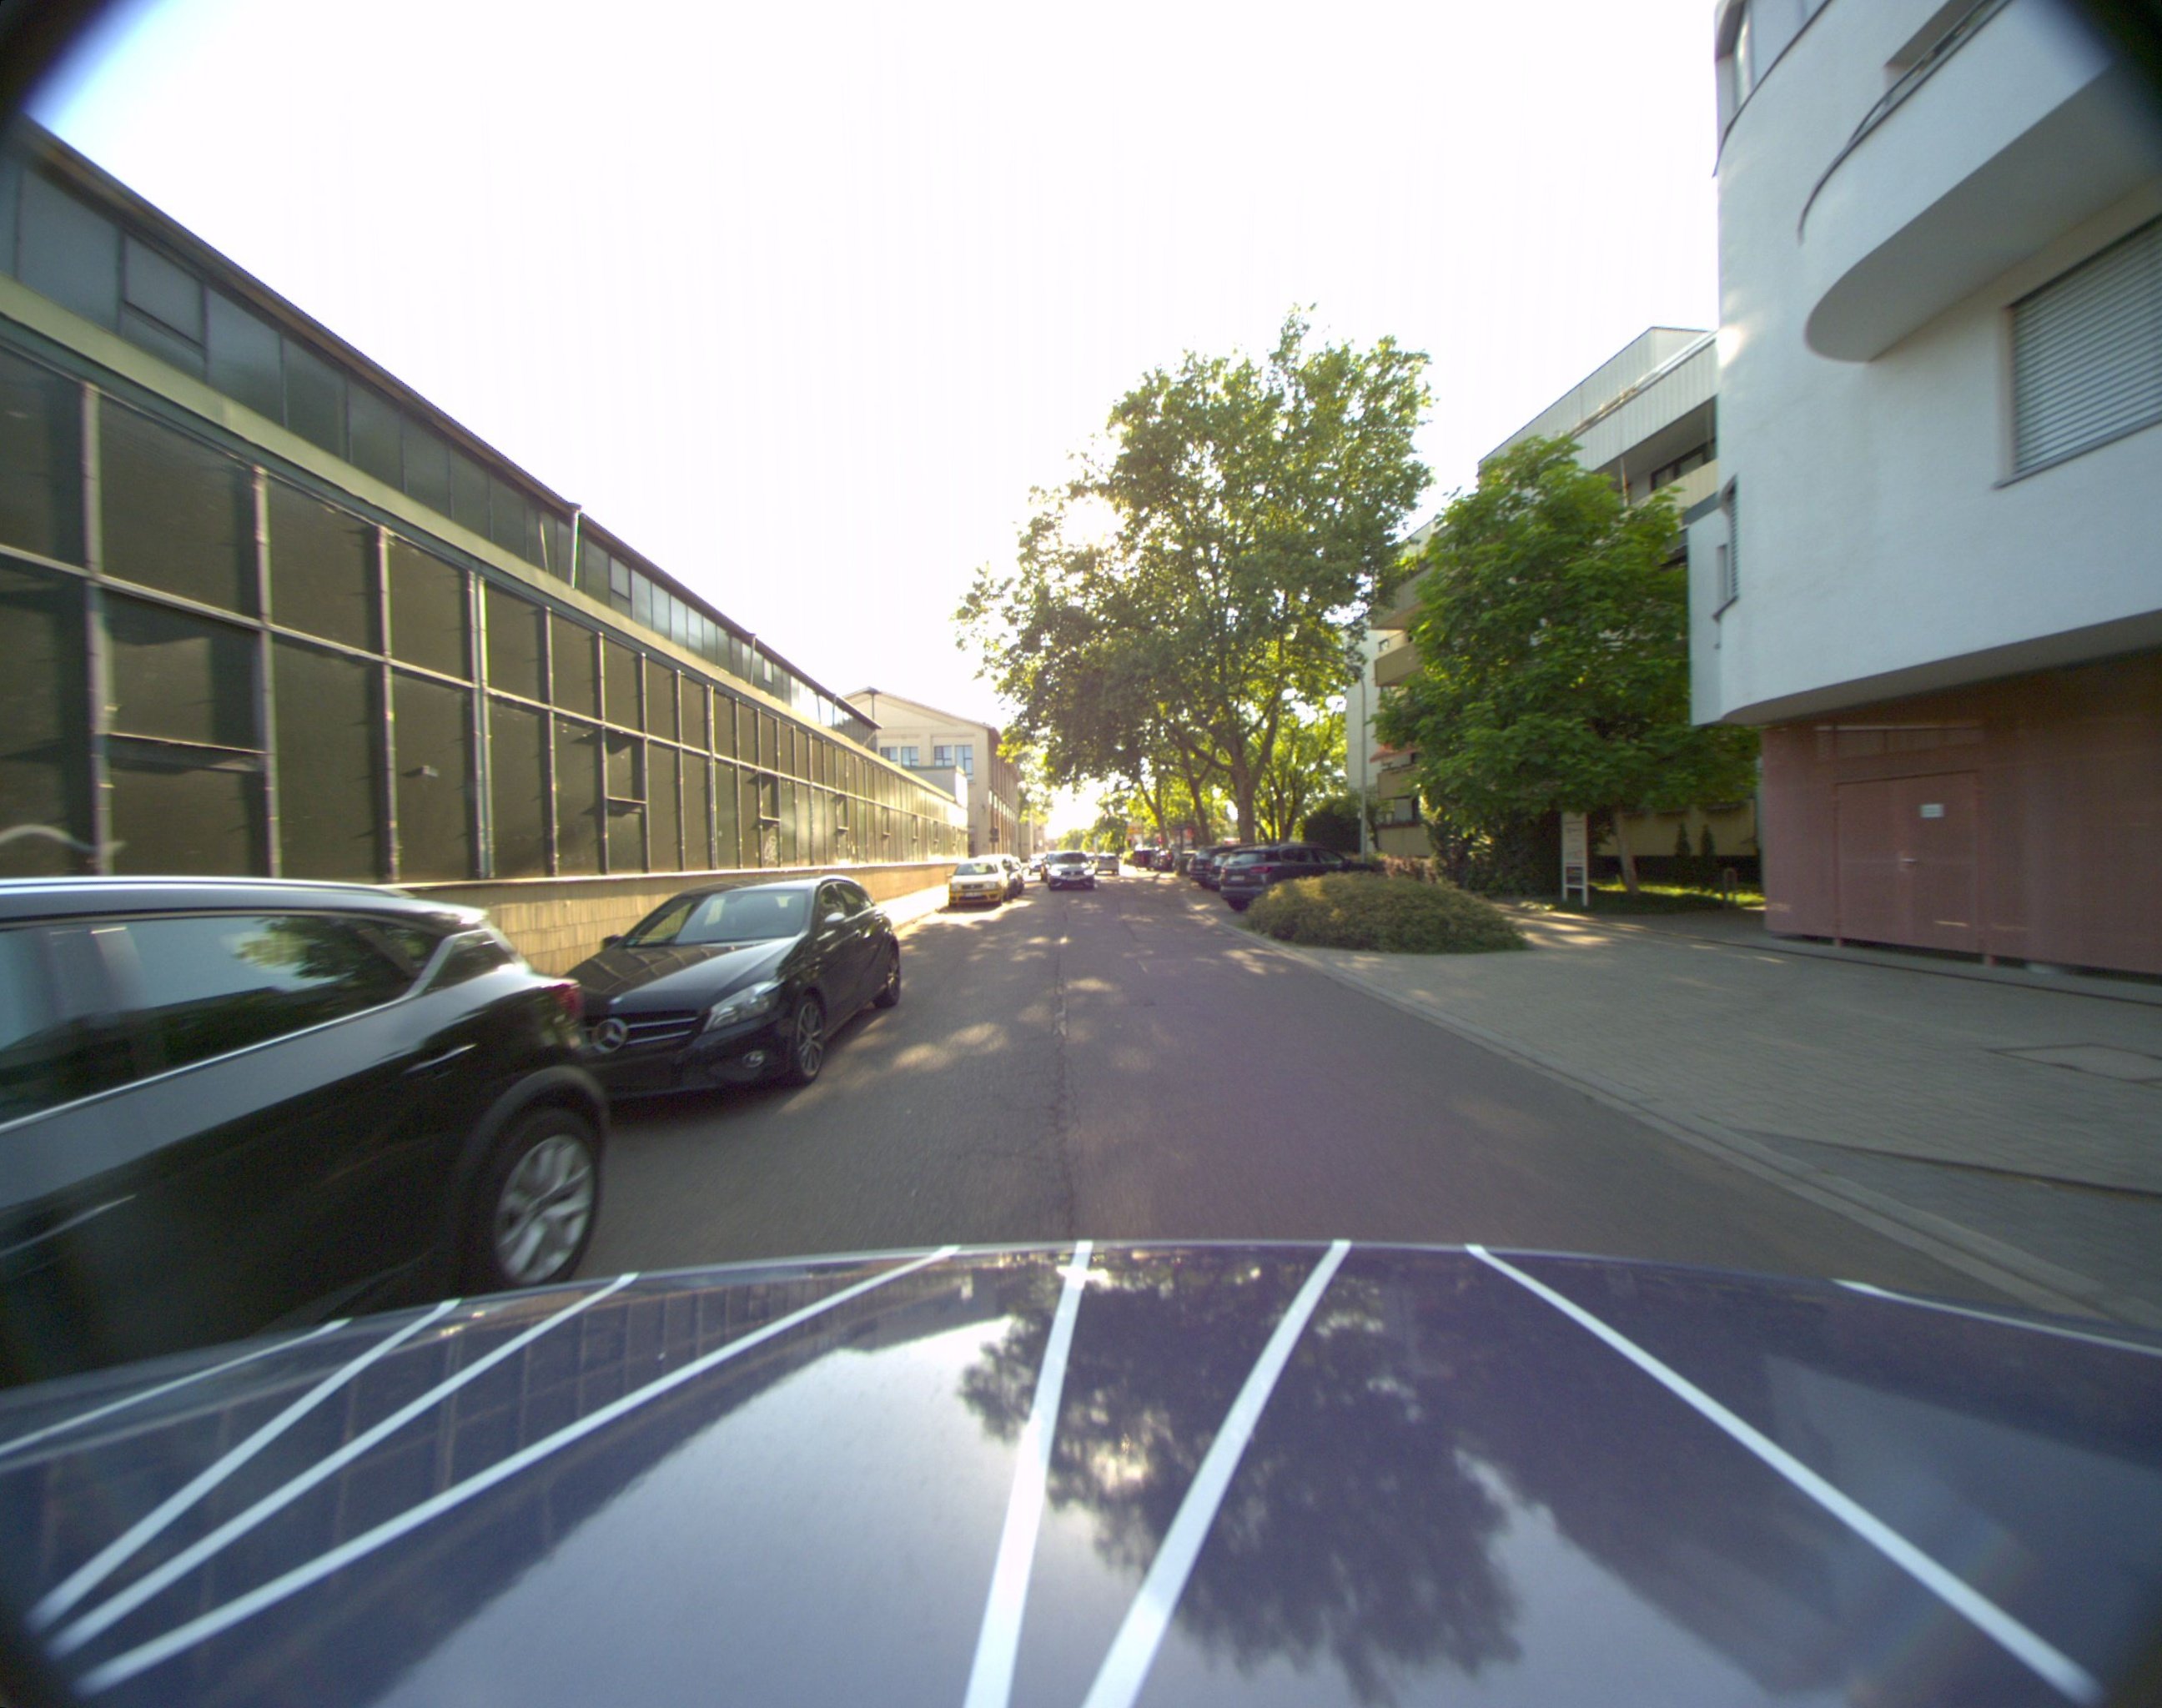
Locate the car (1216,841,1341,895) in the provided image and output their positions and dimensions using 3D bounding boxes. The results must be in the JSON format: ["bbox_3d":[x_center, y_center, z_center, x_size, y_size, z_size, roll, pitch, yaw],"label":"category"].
[{"bbox_3d":[6.575,0.443,25.422,3.651,1.552,1.698,-3,1,-12],"label":"car"}]

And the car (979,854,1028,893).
[{"bbox_3d":[-3.435,0.837,34.393,1.905,1.485,4.527,-3,1,-3],"label":"car"}]

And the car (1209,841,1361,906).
[{"bbox_3d":[6.076,0.530,22.603,4.144,1.631,1.773,-3,1,-25],"label":"car"}]

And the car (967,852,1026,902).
[{"bbox_3d":[-3.120,0.798,28.824,1.755,1.625,4.308,-3,1,-1],"label":"car"}]

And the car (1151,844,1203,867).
[{"bbox_3d":[7.452,0.125,59.234,3.602,1.552,1.647,-3,1,-19],"label":"car"}]

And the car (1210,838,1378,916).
[{"bbox_3d":[5.420,0.524,19.231,3.965,1.653,1.696,-3,1,-28],"label":"car"}]

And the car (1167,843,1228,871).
[{"bbox_3d":[7.754,0.158,50.484,3.654,1.652,1.646,-3,1,-27],"label":"car"}]

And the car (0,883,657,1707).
[{"bbox_3d":[-2.795,1.007,1.207,1.812,1.578,4.403,-4,1,-2],"label":"car"}]

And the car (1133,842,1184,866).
[{"bbox_3d":[6.620,0.000,64.715,4.005,1.876,1.713,-3,1,-27],"label":"car"}]

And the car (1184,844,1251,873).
[{"bbox_3d":[8.211,0.247,45.596,3.655,1.552,1.705,-3,1,-28],"label":"car"}]

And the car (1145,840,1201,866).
[{"bbox_3d":[7.503,-0.105,62.082,4.002,1.871,1.831,-3,1,-17],"label":"car"}]

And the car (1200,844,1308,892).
[{"bbox_3d":[6.484,0.490,28.485,3.654,1.552,1.696,-3,1,-26],"label":"car"}]

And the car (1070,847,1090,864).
[{"bbox_3d":[-0.149,0.142,78.801,1.965,1.633,3.999,-3,1,-1],"label":"car"}]

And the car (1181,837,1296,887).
[{"bbox_3d":[6.470,0.313,31.264,4.274,1.765,1.902,-3,1,-24],"label":"car"}]

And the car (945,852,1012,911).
[{"bbox_3d":[-3.235,0.817,24.539,1.755,1.625,3.999,-3,1,-3],"label":"car"}]

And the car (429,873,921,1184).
[{"bbox_3d":[-2.785,1.051,6.634,1.755,1.482,4.620,-4,1,-1],"label":"car"}]

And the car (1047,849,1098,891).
[{"bbox_3d":[-0.414,0.622,32.237,1.855,1.527,3.855,-4,1,-3],"label":"car"}]

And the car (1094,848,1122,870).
[{"bbox_3d":[1.962,0.311,55.274,1.904,1.527,4.621,0,1,2],"label":"car"}]

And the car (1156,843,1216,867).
[{"bbox_3d":[7.833,0.090,56.901,4.002,1.615,1.795,-2,1,-16],"label":"car"}]
